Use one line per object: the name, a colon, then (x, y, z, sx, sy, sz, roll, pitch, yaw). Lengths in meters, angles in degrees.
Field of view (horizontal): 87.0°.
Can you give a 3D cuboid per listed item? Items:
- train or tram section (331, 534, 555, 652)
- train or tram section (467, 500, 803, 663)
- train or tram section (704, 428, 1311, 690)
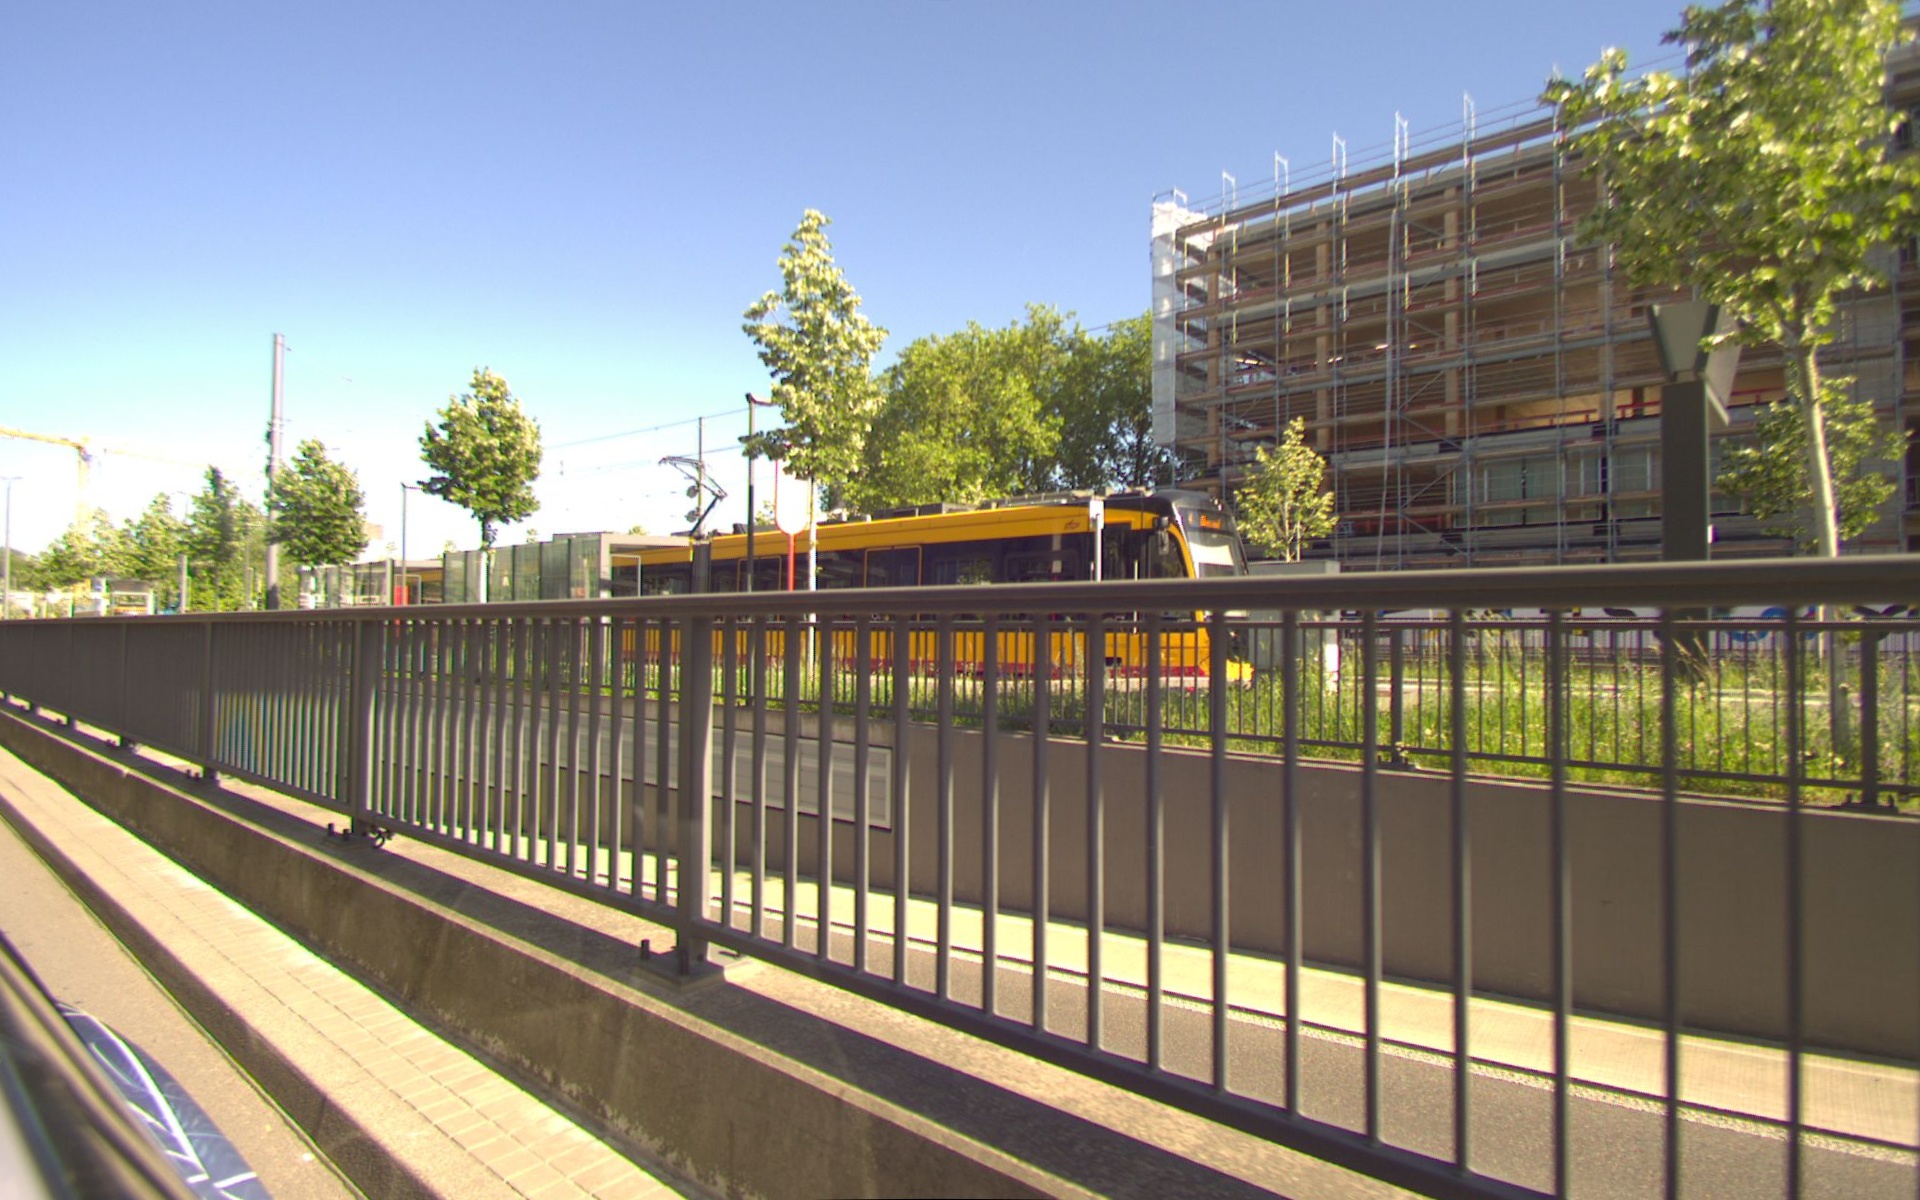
train or tram section: (-19.047, -0.073, 36.610, 12.785, 3.666, 2.785, -1, -3, 42)
train or tram section: (-9.526, -0.265, 28.041, 12.785, 3.666, 2.785, -1, -3, 42)
train or tram section: (-0.046, -0.430, 19.446, 12.785, 3.666, 2.785, -1, -3, 42)
